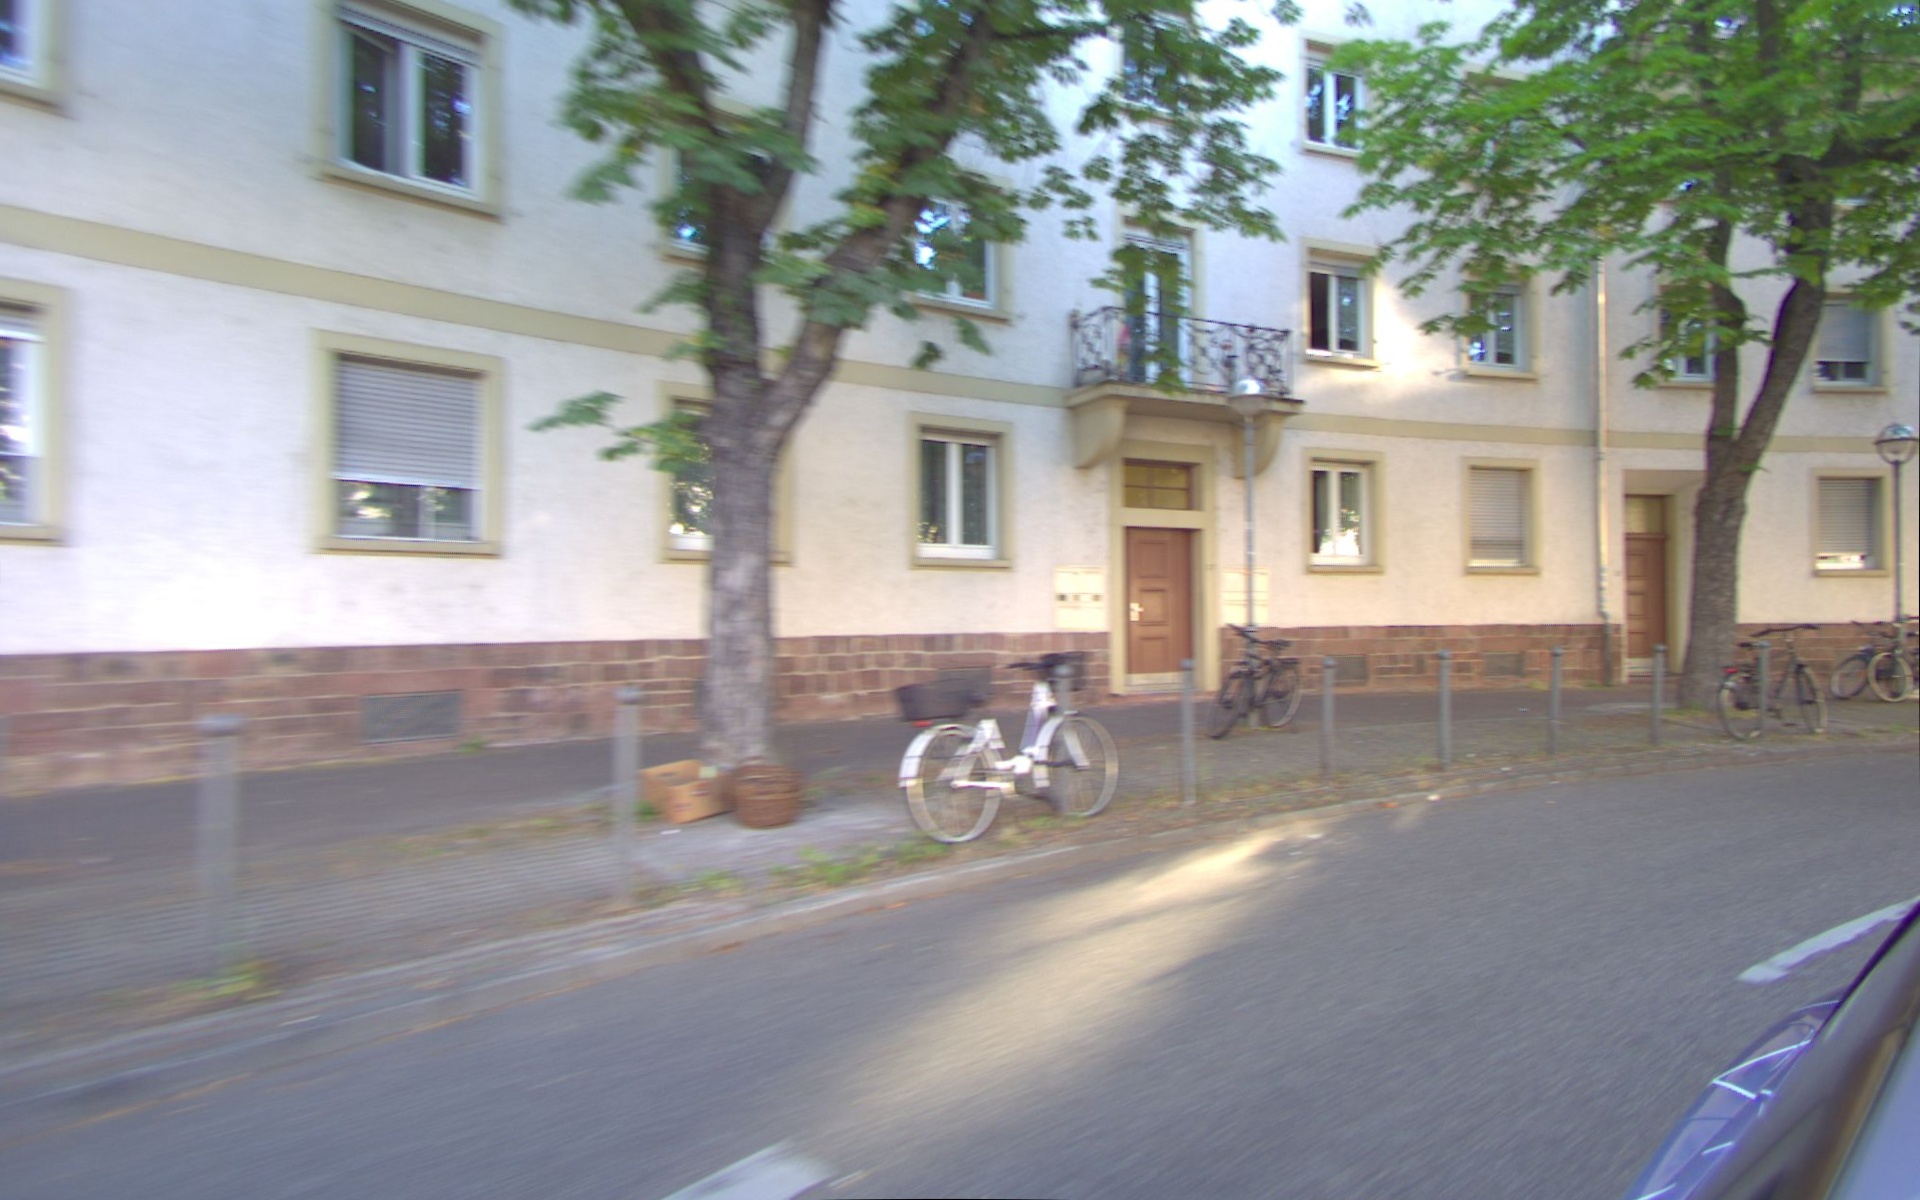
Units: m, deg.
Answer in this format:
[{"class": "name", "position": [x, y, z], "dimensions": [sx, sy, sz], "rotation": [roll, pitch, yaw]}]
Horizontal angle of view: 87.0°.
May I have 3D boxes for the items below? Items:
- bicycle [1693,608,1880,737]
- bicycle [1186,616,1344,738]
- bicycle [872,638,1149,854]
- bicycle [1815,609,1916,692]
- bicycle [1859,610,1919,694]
[{"class": "bicycle", "position": [8.642, 0.712, 10.575], "dimensions": [1.874, 1.238, 0.721], "rotation": [0, -1, -23]}, {"class": "bicycle", "position": [3.199, 0.745, 10.516], "dimensions": [1.828, 1.133, 0.800], "rotation": [0, -1, -45]}, {"class": "bicycle", "position": [0.381, 0.842, 6.444], "dimensions": [1.939, 1.109, 0.513], "rotation": [0, 1, -41]}, {"class": "bicycle", "position": [12.675, 0.691, 14.156], "dimensions": [1.602, 1.108, 0.335], "rotation": [0, -1, -21]}, {"class": "bicycle", "position": [13.122, 0.698, 13.971], "dimensions": [1.602, 1.108, 0.335], "rotation": [0, -1, -21]}]
